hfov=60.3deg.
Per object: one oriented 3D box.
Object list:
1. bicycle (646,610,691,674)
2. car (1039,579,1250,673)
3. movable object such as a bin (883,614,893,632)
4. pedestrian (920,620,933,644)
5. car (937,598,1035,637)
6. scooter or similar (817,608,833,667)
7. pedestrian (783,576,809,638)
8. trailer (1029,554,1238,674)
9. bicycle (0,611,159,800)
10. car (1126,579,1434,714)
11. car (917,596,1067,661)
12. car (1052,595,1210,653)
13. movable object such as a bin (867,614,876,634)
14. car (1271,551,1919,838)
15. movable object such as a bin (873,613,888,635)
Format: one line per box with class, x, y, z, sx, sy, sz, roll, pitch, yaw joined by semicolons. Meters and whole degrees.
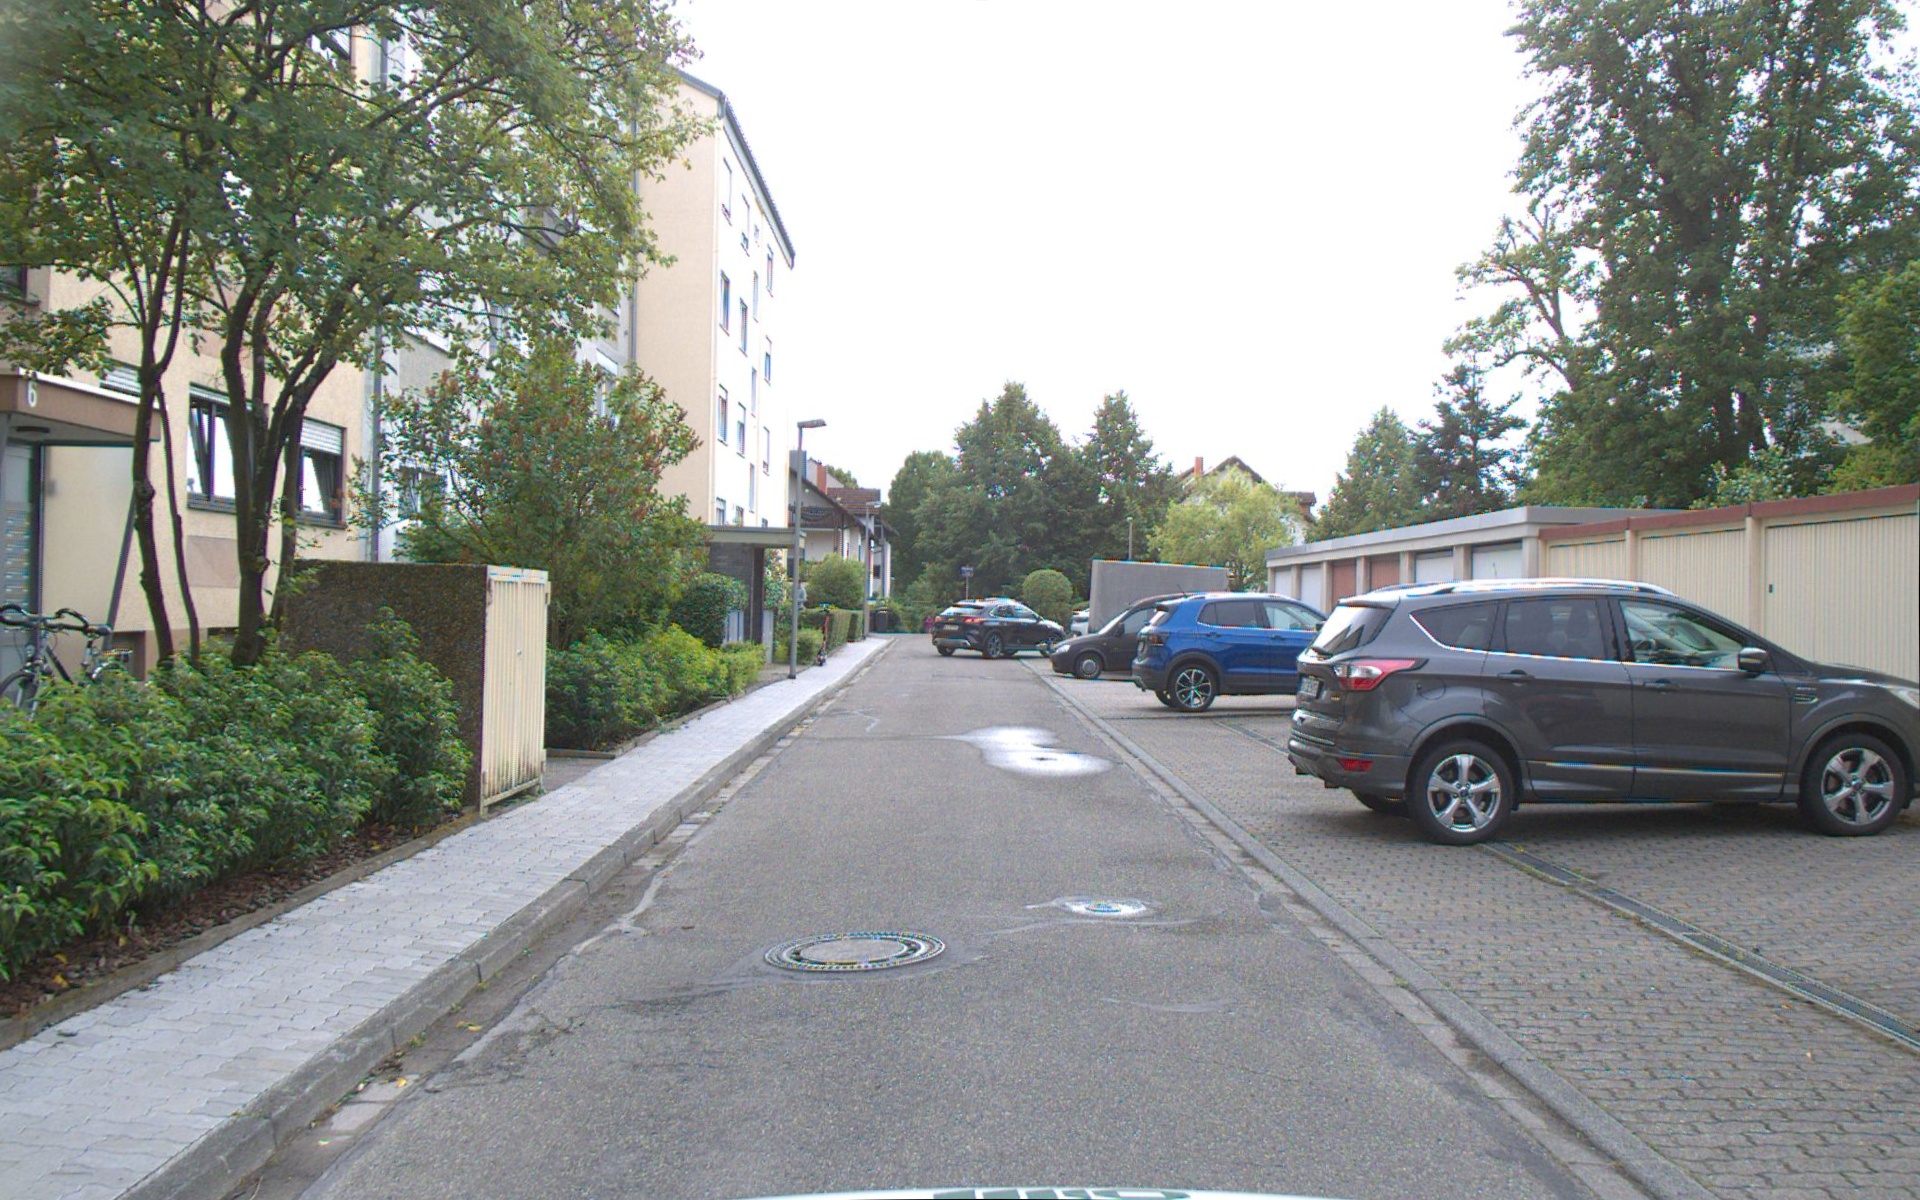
bicycle;-5.057;0.718;28.776;0.444;1.052;1.546;3;0;0
car;3.868;0.536;35.228;4.223;1.833;1.999;-1;0;-2
movable object such as a bin;-3.285;1.036;75.368;0.450;0.811;0.379;2;0;-3
pedestrian;-2.203;2.126;109.280;0.799;1.544;0.438;1;-1;-3
car;1.106;0.779;71.668;4.151;1.558;1.747;1;-2;-1
scooter or similar;-2.892;0.794;35.416;0.267;1.232;1.164;1;0;-1
pedestrian;-4.833;0.199;48.767;0.665;1.779;0.756;2;0;-3
trailer;3.905;0.302;37.821;4.515;2.569;1.942;1;0;-1
bicycle;-5.760;0.641;10.784;0.308;1.070;1.691;0;2;-2
car;4.423;0.618;23.339;3.906;1.733;1.999;-1;0;-2
car;0.899;0.737;44.376;1.963;1.579;3.978;-1;0;41
car;4.975;0.689;48.557;4.443;1.616;1.988;1;0;1
movable object such as a bin;-4.021;1.093;74.975;0.378;0.905;0.379;2;0;-3
car;4.467;0.598;11.701;4.110;1.757;1.999;-1;0;-2
movable object such as a bin;-3.530;1.054;73.393;0.625;0.970;0.723;2;0;-2
